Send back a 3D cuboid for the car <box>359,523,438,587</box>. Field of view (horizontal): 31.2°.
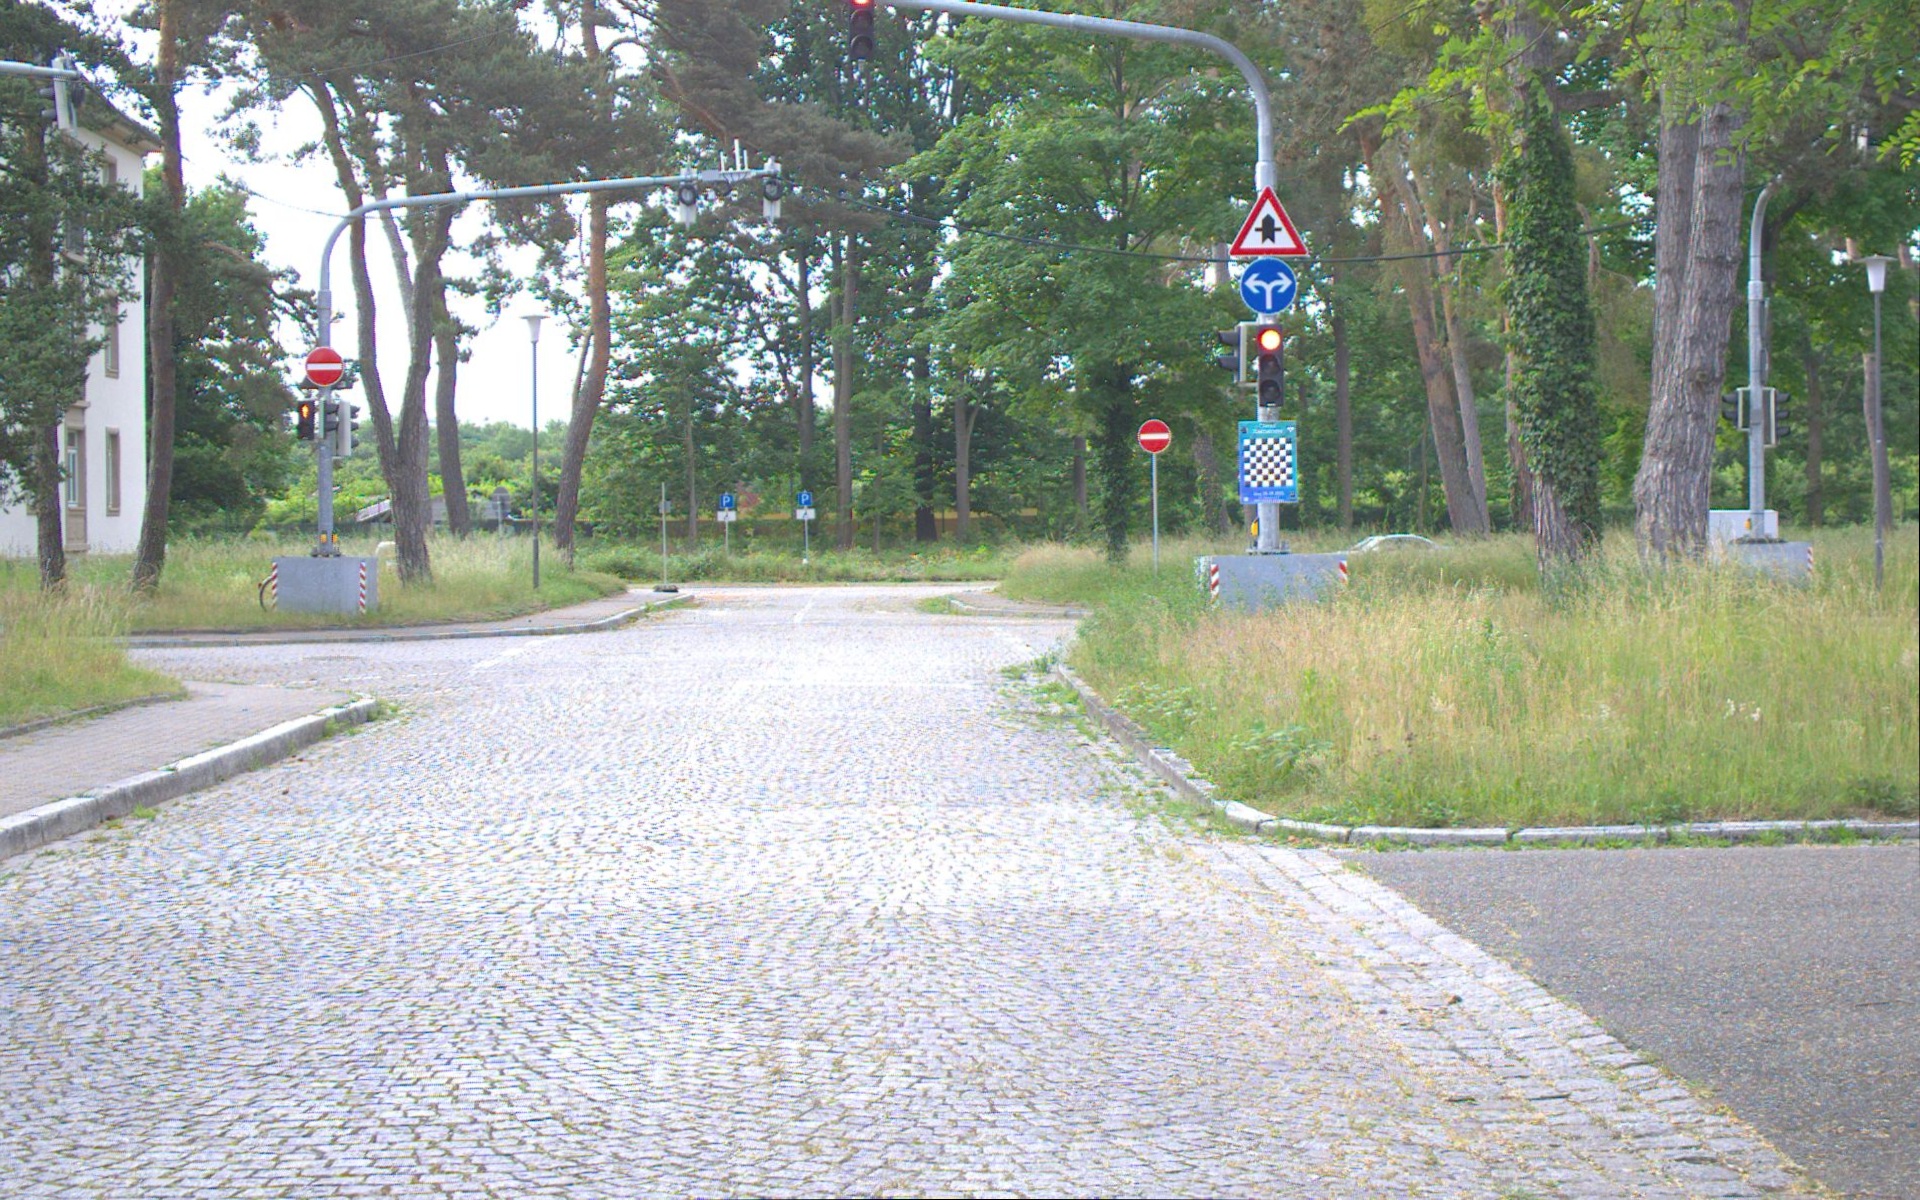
[{"bbox_3d":[-16.942,-1.374,103.855,1.993,1.840,4.001,1,1,-4],"label":"car"}]
